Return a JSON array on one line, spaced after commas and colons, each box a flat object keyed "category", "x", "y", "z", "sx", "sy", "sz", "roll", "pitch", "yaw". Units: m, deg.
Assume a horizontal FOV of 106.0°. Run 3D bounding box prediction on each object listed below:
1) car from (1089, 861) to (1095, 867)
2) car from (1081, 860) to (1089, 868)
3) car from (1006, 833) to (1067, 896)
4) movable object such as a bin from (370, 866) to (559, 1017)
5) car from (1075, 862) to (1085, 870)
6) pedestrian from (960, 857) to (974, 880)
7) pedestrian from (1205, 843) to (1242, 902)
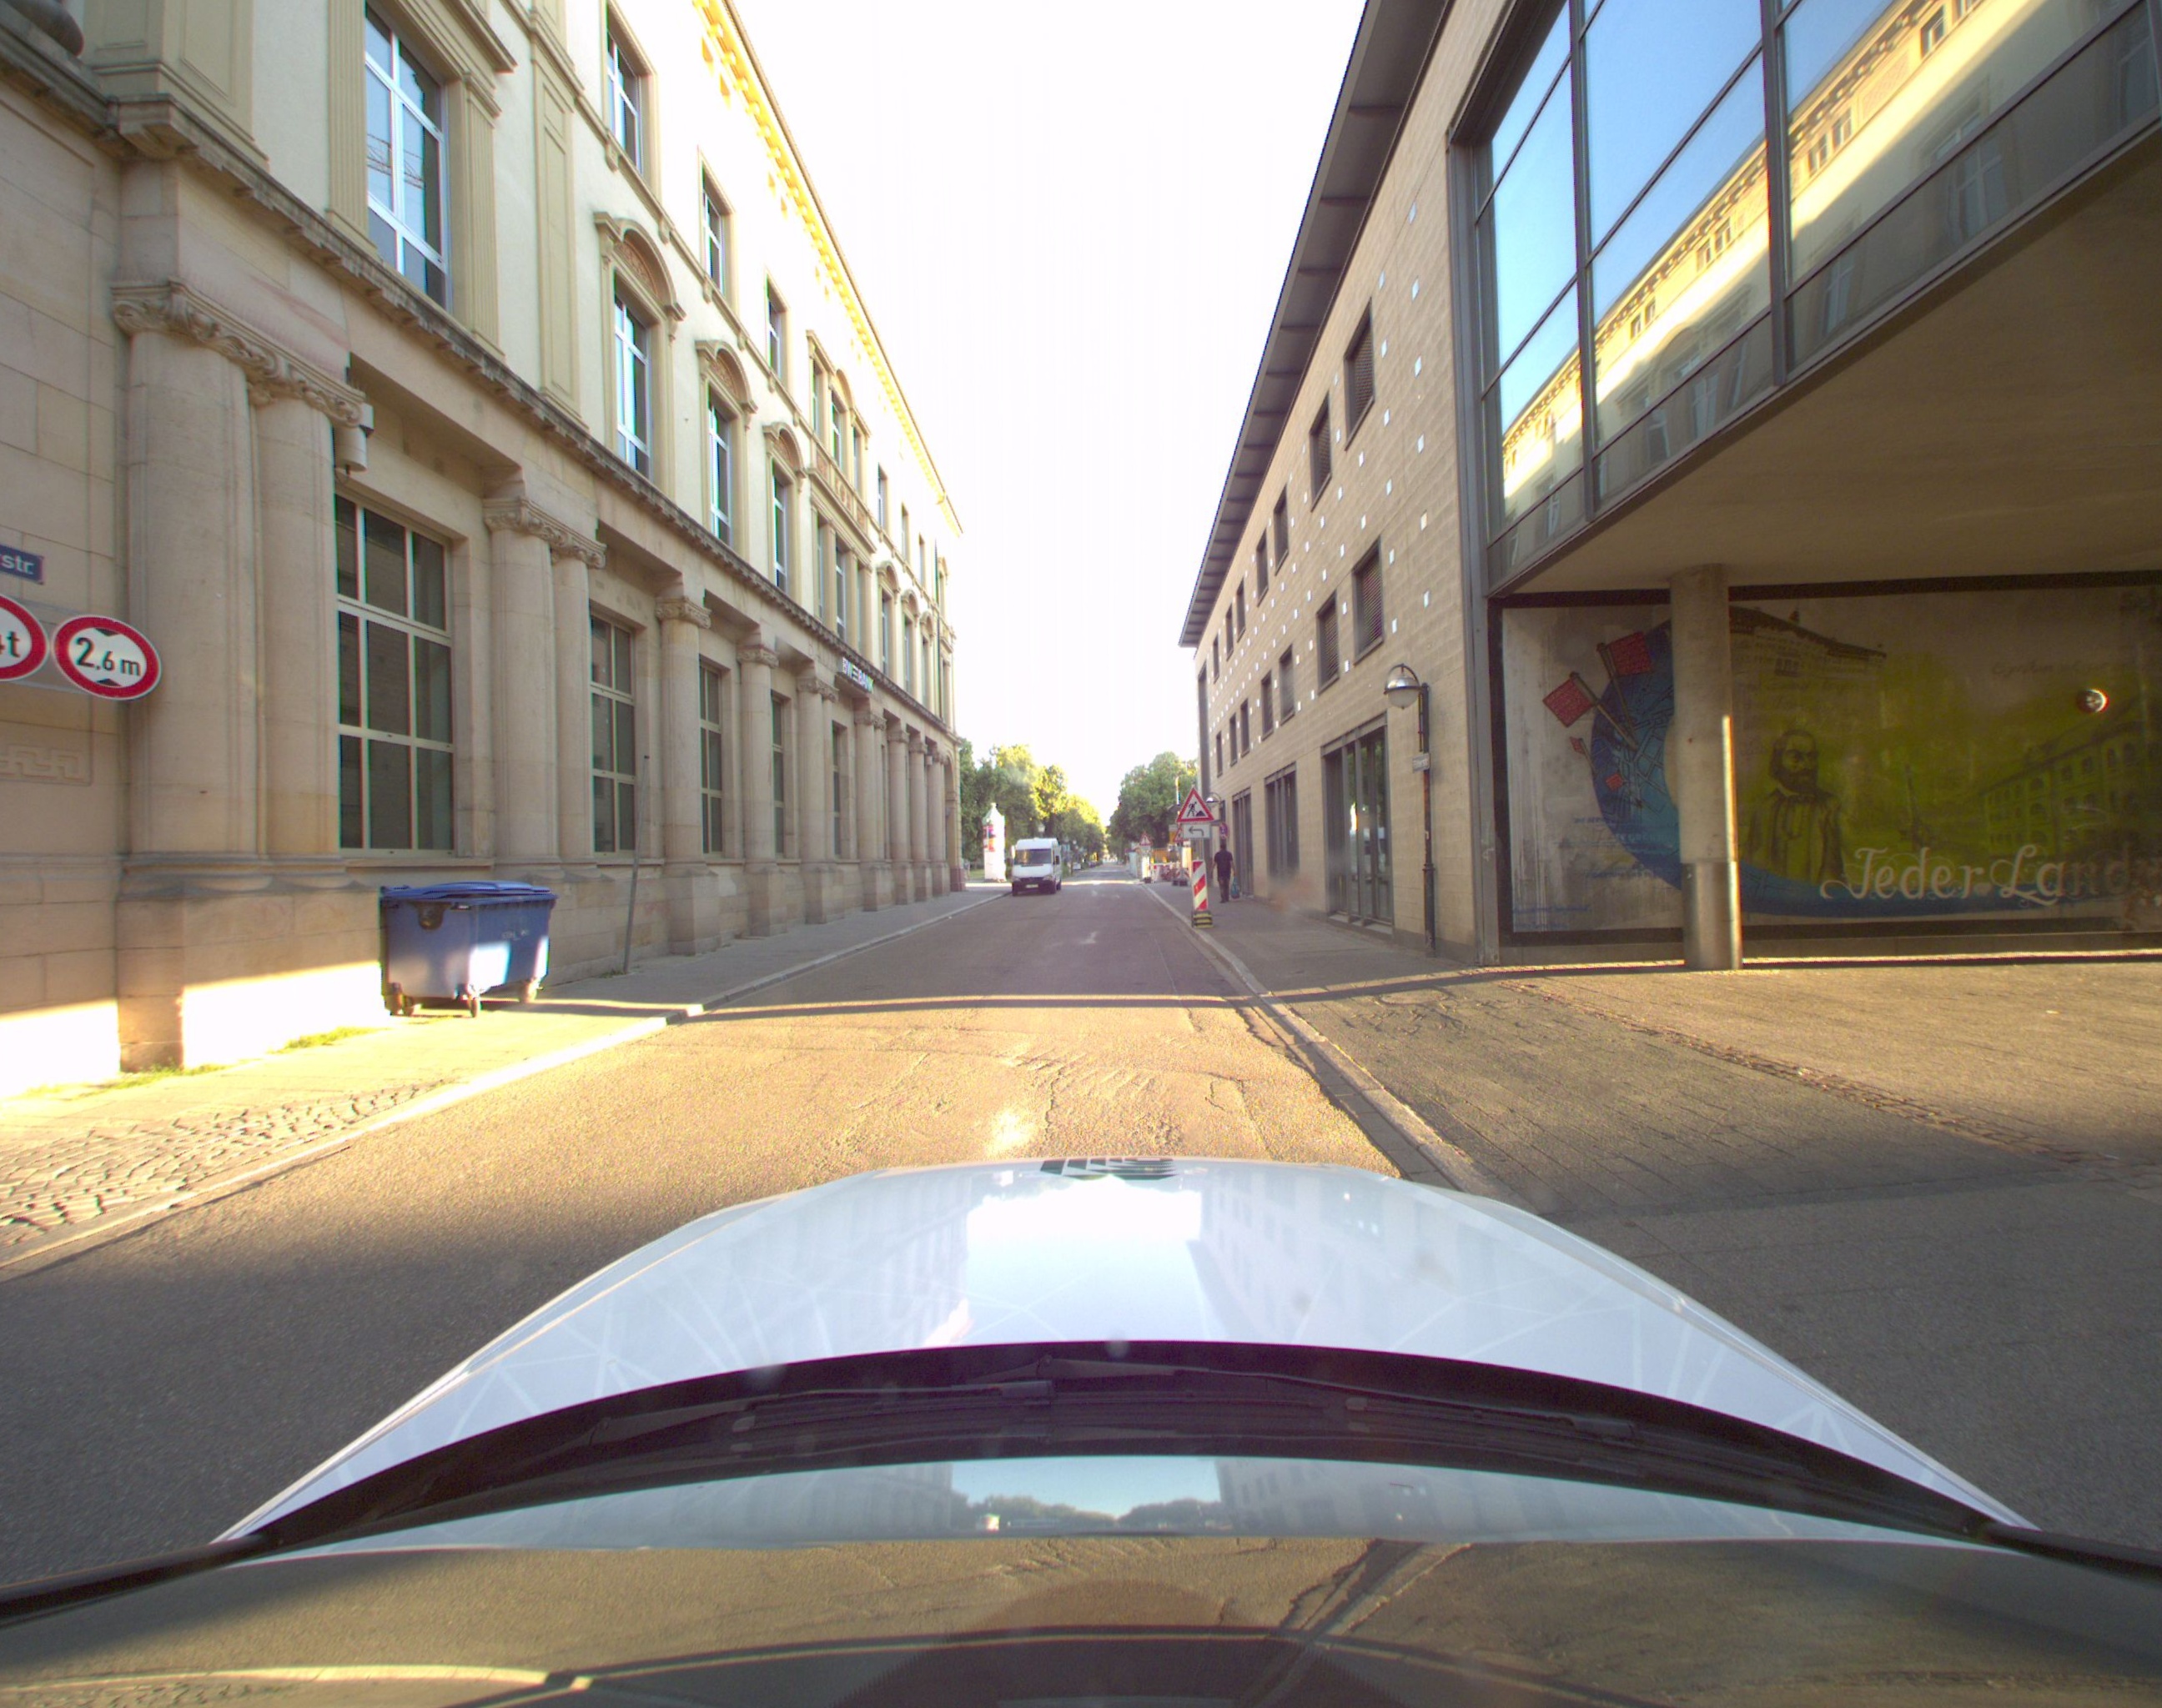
[{"category": "car", "x": 2.971, "y": 2.673, "z": 215.316, "sx": 1.462, "sy": 1.404, "sz": 3.680, "roll": -1, "pitch": 0, "yaw": 2}, {"category": "car", "x": 0.833, "y": 2.006, "z": 161.963, "sx": 1.462, "sy": 1.404, "sz": 3.680, "roll": -1, "pitch": 0, "yaw": 2}, {"category": "car", "x": -1.938, "y": 0.466, "z": 37.836, "sx": 1.988, "sy": 2.512, "sz": 6.474, "roll": -5, "pitch": 0, "yaw": 3}, {"category": "movable object such as a bin", "x": -6.512, "y": 0.878, "z": 8.686, "sx": 1.068, "sy": 1.475, "sz": 1.189, "roll": 0, "pitch": -1, "yaw": 5}, {"category": "car", "x": -0.107, "y": 1.939, "z": 136.593, "sx": 1.462, "sy": 1.256, "sz": 3.680, "roll": -1, "pitch": 0, "yaw": 2}, {"category": "pedestrian", "x": -8.651, "y": 1.092, "z": 61.871, "sx": 0.742, "sy": 1.702, "sz": 0.704, "roll": -3, "pitch": -1, "yaw": 9}, {"category": "pedestrian", "x": 4.308, "y": 0.547, "z": 24.716, "sx": 0.919, "sy": 1.702, "sz": 0.869, "roll": -3, "pitch": -1, "yaw": 1}]
